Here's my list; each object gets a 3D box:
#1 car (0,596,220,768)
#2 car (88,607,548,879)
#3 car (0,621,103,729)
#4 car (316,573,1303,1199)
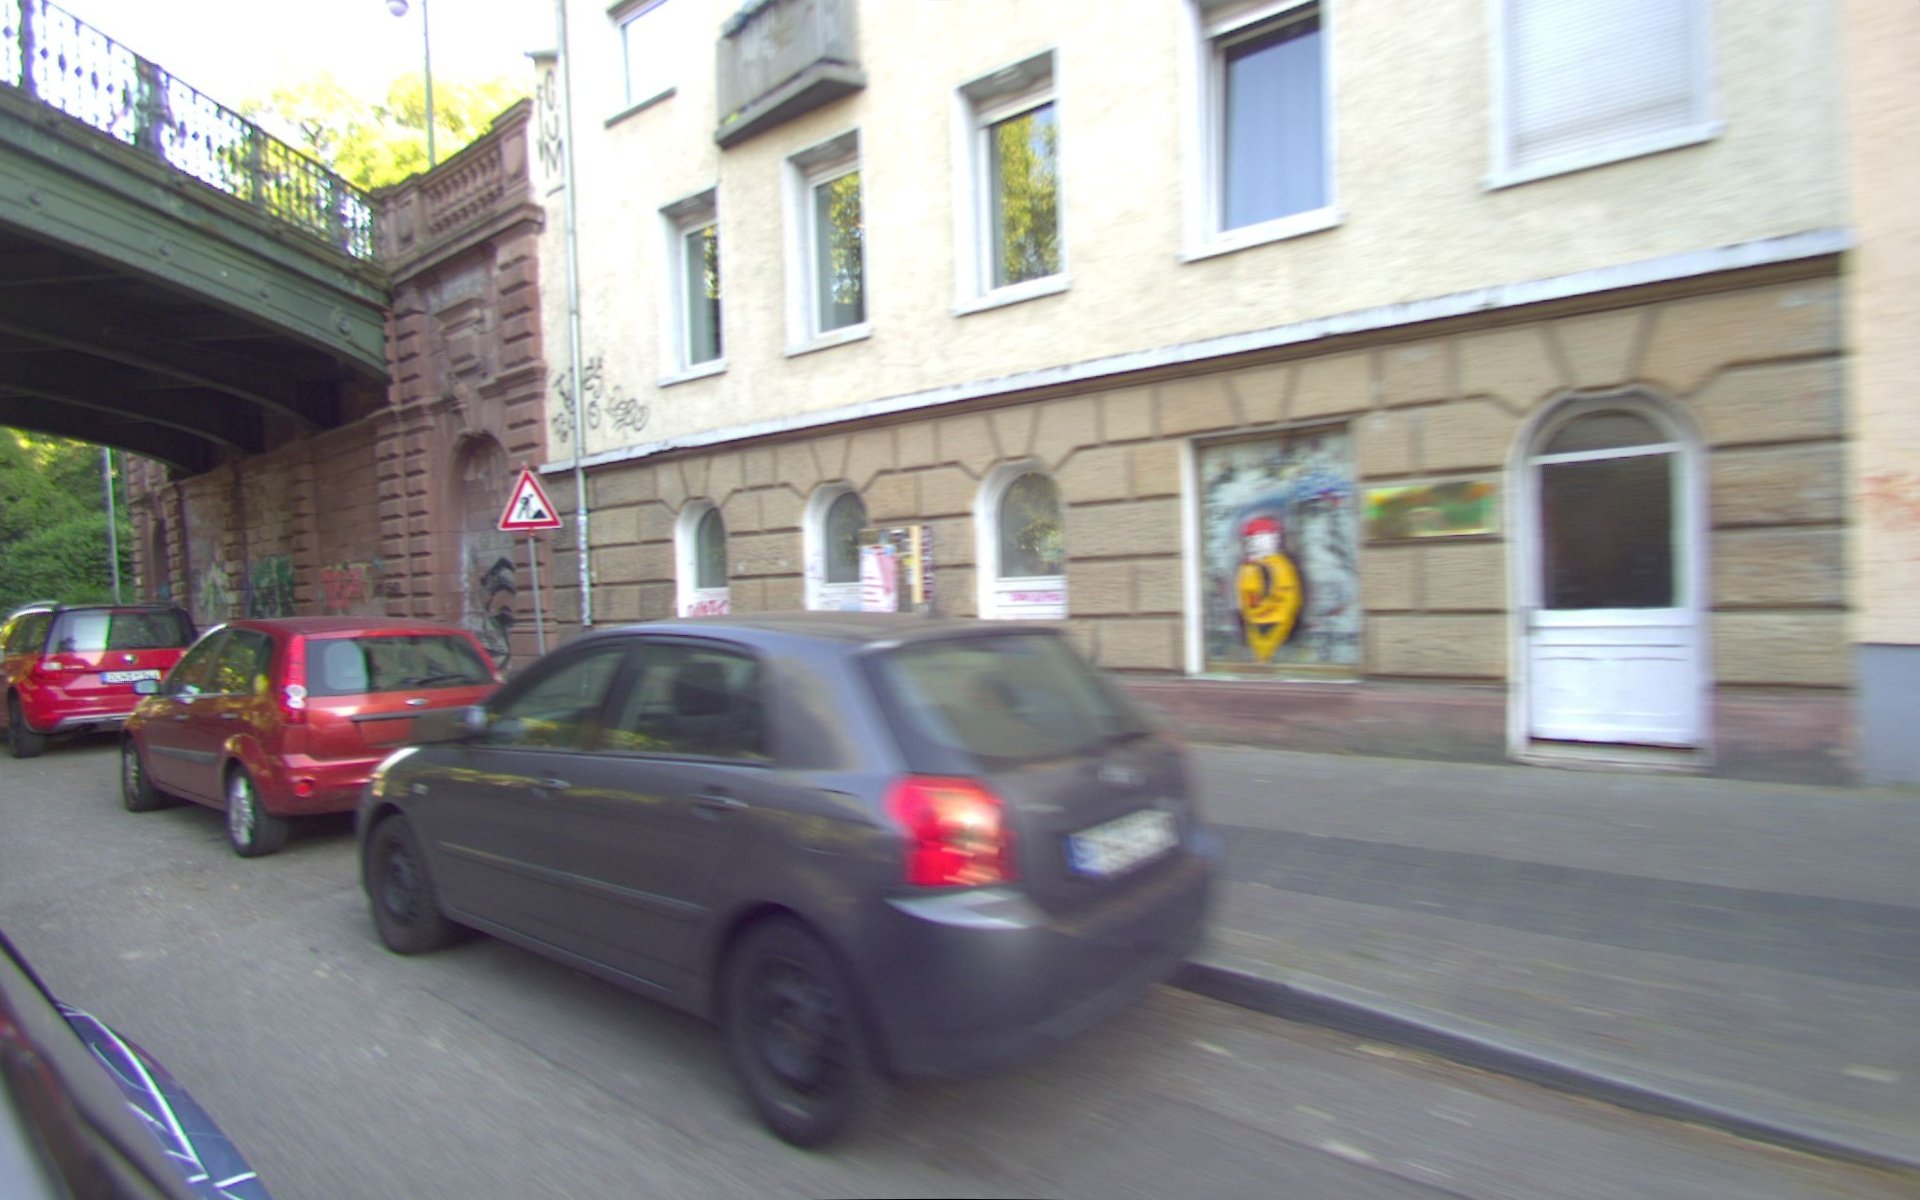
[{"bbox_3d":[-10.768,0.866,12.269,4.315,1.721,1.701,-1,0,37],"label":"car"},{"bbox_3d":[-4.913,0.832,7.529,3.995,1.452,1.673,-1,1,39],"label":"car"},{"bbox_3d":[-14.828,1.089,15.639,3.996,1.475,1.700,-1,0,39],"label":"car"},{"bbox_3d":[-0.906,0.730,4.028,3.996,1.478,1.620,-1,-2,39],"label":"car"}]
